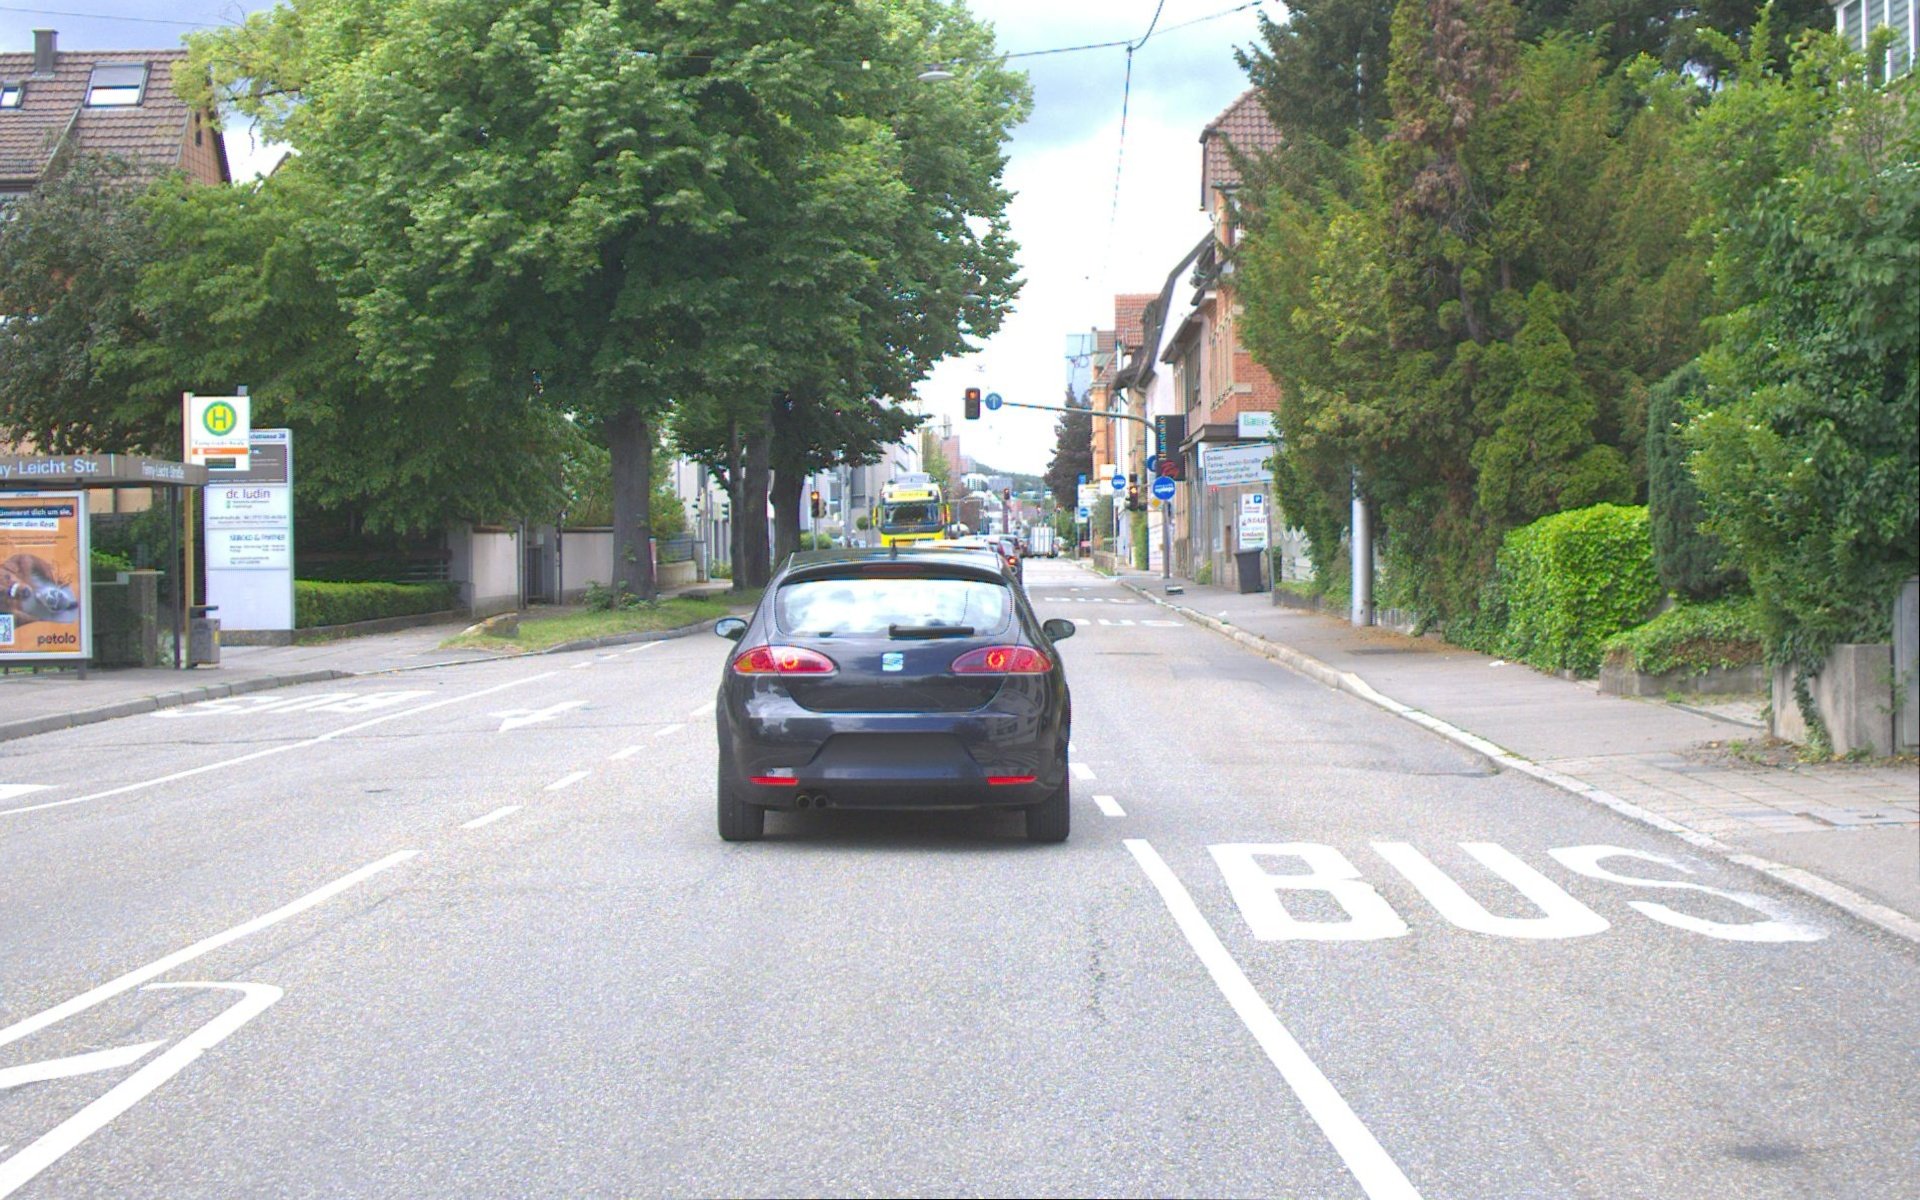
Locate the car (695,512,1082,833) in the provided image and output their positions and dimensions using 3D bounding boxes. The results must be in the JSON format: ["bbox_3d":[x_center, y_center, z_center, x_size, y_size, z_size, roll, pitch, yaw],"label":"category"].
[{"bbox_3d":[-0.427,0.309,17.866,1.759,1.444,3.715,2,1,-3],"label":"car"}]

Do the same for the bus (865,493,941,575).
[{"bbox_3d":[-2.191,-2.580,134.777,2.868,3.125,6.398,0,1,0],"label":"bus"}]

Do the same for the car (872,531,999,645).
[{"bbox_3d":[-0.343,-0.223,53.683,1.819,1.693,4.253,-1,1,2],"label":"car"}]

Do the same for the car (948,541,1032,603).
[{"bbox_3d":[0.728,-0.721,86.481,1.941,1.476,4.253,-1,1,-2],"label":"car"}]

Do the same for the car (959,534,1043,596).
[{"bbox_3d":[1.176,-0.981,96.387,1.994,1.678,3.999,0,1,6],"label":"car"}]
